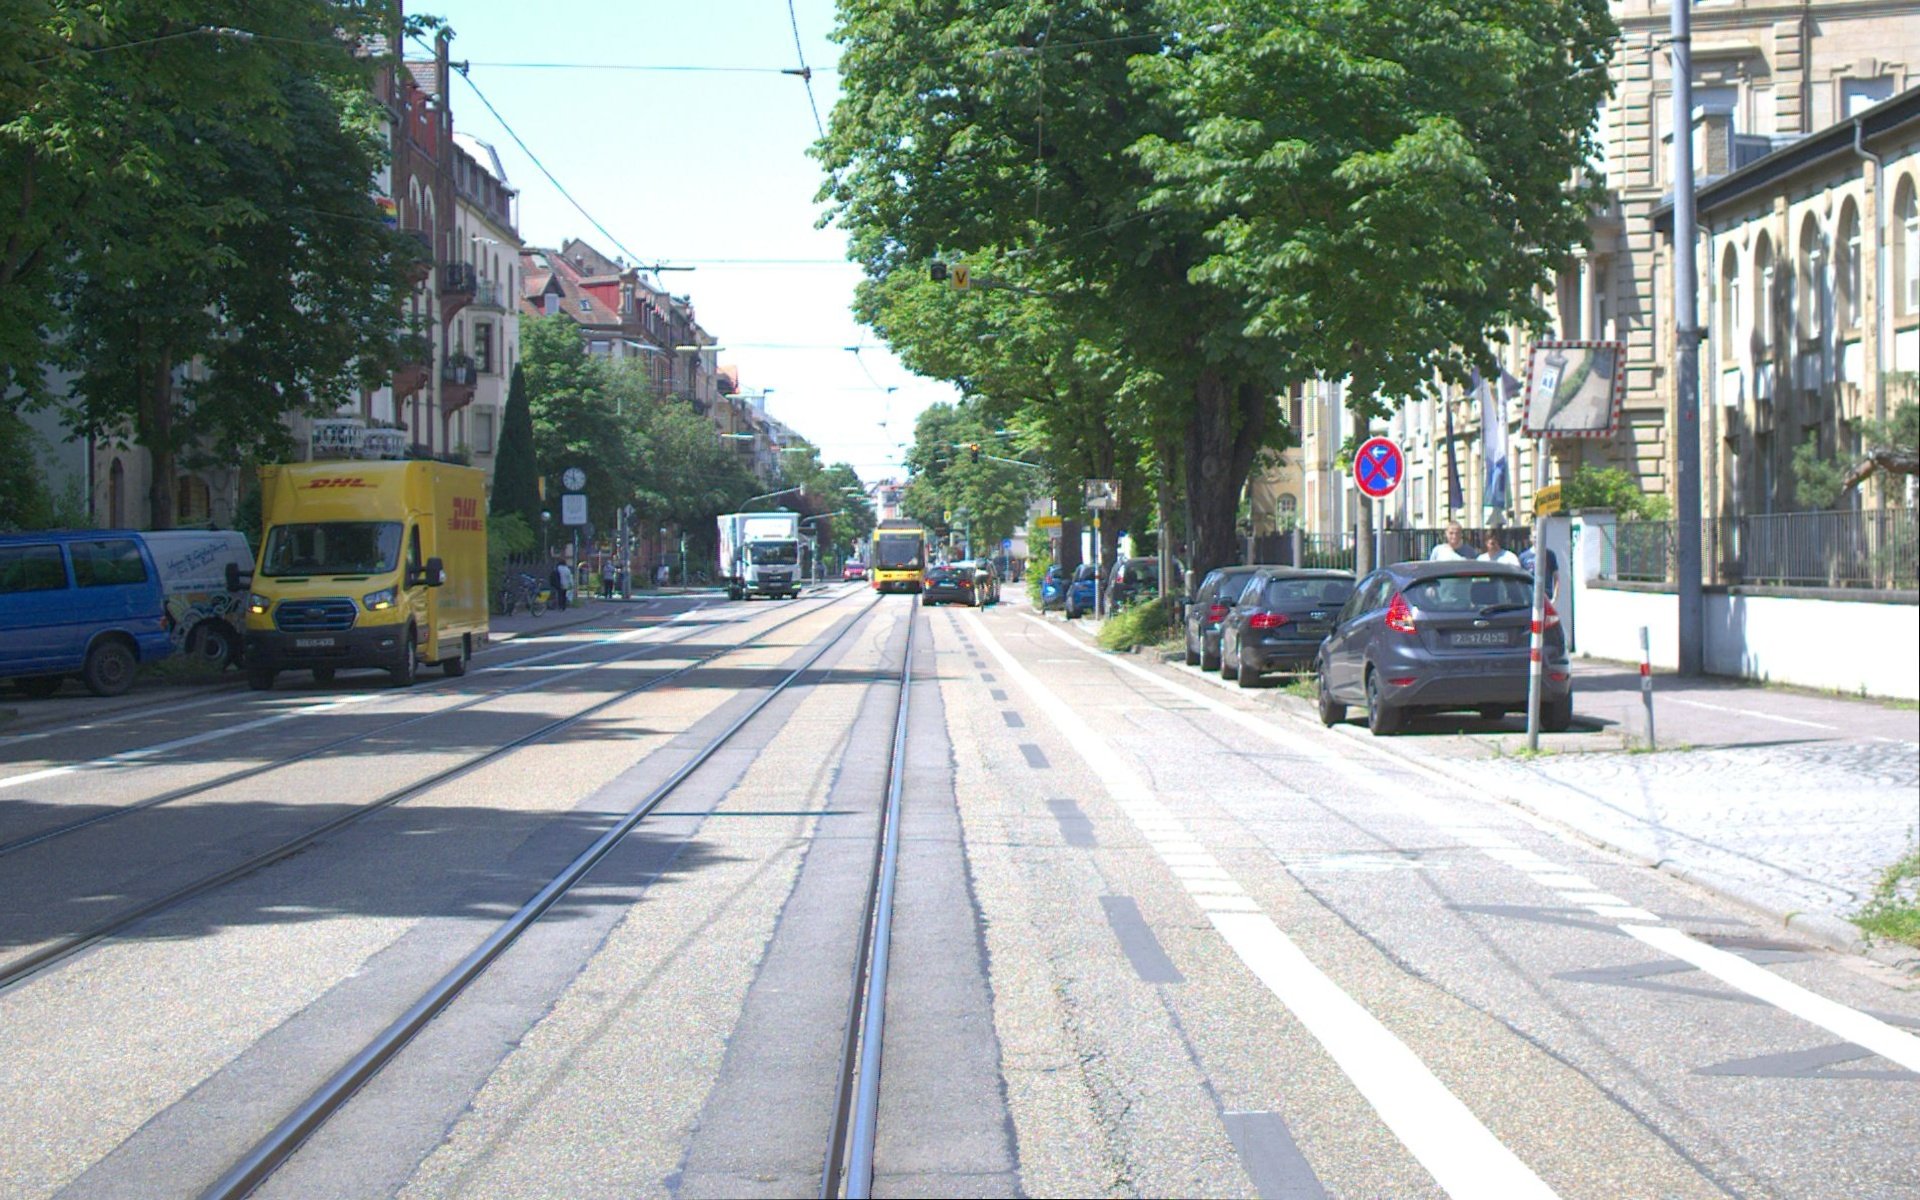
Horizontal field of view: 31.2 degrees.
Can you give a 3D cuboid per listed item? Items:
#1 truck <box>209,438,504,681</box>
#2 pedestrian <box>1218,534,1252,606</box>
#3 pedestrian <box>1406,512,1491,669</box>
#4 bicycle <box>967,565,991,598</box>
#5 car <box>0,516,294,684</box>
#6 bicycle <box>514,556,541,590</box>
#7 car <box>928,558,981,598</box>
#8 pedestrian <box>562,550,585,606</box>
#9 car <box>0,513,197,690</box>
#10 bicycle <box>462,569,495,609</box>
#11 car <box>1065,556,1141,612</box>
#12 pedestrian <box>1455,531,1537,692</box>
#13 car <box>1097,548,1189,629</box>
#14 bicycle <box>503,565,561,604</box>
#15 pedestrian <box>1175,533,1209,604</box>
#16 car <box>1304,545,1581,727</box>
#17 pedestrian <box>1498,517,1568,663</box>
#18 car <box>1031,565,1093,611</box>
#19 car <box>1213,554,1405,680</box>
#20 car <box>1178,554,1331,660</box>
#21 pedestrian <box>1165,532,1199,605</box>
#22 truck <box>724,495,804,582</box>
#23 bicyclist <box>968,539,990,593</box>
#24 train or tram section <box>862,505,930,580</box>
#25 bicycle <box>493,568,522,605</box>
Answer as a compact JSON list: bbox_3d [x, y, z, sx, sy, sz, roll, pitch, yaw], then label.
[{"bbox_3d":[-7.660,-0.549,44.531,2.360,2.843,7.378,-1,1,1],"label":"truck"},{"bbox_3d":[7.149,-0.783,89.373,0.808,1.853,0.623,0,-1,-2],"label":"pedestrian"},{"bbox_3d":[5.849,-0.118,41.143,0.575,1.853,0.811,-2,1,-36],"label":"pedestrian"},{"bbox_3d":[0.570,-0.571,104.908,0.639,0.966,1.781,1,-1,-2],"label":"bicycle"},{"bbox_3d":[-11.451,-0.023,45.471,4.749,2.055,2.026,-2,1,-39],"label":"car"},{"bbox_3d":[-12.522,-0.793,99.477,0.543,0.966,1.781,1,1,0],"label":"bicycle"},{"bbox_3d":[-0.201,-0.761,116.495,1.781,1.341,3.416,0,1,0],"label":"car"},{"bbox_3d":[-11.252,-0.645,100.121,0.572,1.610,0.816,0,1,0],"label":"pedestrian"},{"bbox_3d":[-11.291,0.036,39.353,1.846,1.949,4.719,-1,1,44],"label":"car"},{"bbox_3d":[-12.204,-0.278,87.184,0.543,0.966,1.990,1,1,0],"label":"bicycle"},{"bbox_3d":[3.745,-0.424,90.521,1.710,1.418,4.310,-1,0,-1],"label":"car"},{"bbox_3d":[6.288,0.131,40.348,0.575,1.853,0.726,-2,1,-36],"label":"pedestrian"},{"bbox_3d":[3.767,-0.244,71.190,1.592,1.611,3.908,-1,0,-1],"label":"car"},{"bbox_3d":[-11.183,-0.408,89.936,0.544,0.966,1.778,1,-1,29],"label":"bicycle"},{"bbox_3d":[6.101,-0.821,90.387,0.808,1.853,0.623,0,-1,-2],"label":"pedestrian"},{"bbox_3d":[4.182,0.287,30.344,1.639,1.480,3.873,-1,0,-4],"label":"car"},{"bbox_3d":[6.881,-0.123,41.291,0.476,1.731,0.620,-2,0,-36],"label":"pedestrian"},{"bbox_3d":[3.204,-0.386,108.652,1.710,1.418,4.310,-1,0,-1],"label":"car"},{"bbox_3d":[4.261,0.182,42.640,1.876,1.450,4.528,-1,0,0],"label":"car"},{"bbox_3d":[4.152,0.084,49.010,1.710,1.418,4.244,-1,0,-1],"label":"car"},{"bbox_3d":[5.742,-0.809,88.798,0.808,1.853,0.576,0,-1,-2],"label":"pedestrian"},{"bbox_3d":[-8.187,-2.585,144.719,2.939,3.538,8.453,-1,1,-1],"label":"truck"},{"bbox_3d":[0.579,-1.036,104.961,0.622,1.610,0.865,1,-1,-2],"label":"bicyclist"},{"bbox_3d":[-3.001,-2.756,165.160,3.035,3.427,11.971,0,1,0],"label":"train or tram section"},{"bbox_3d":[-12.286,-0.373,93.436,0.543,0.966,1.781,1,1,0],"label":"bicycle"}]
